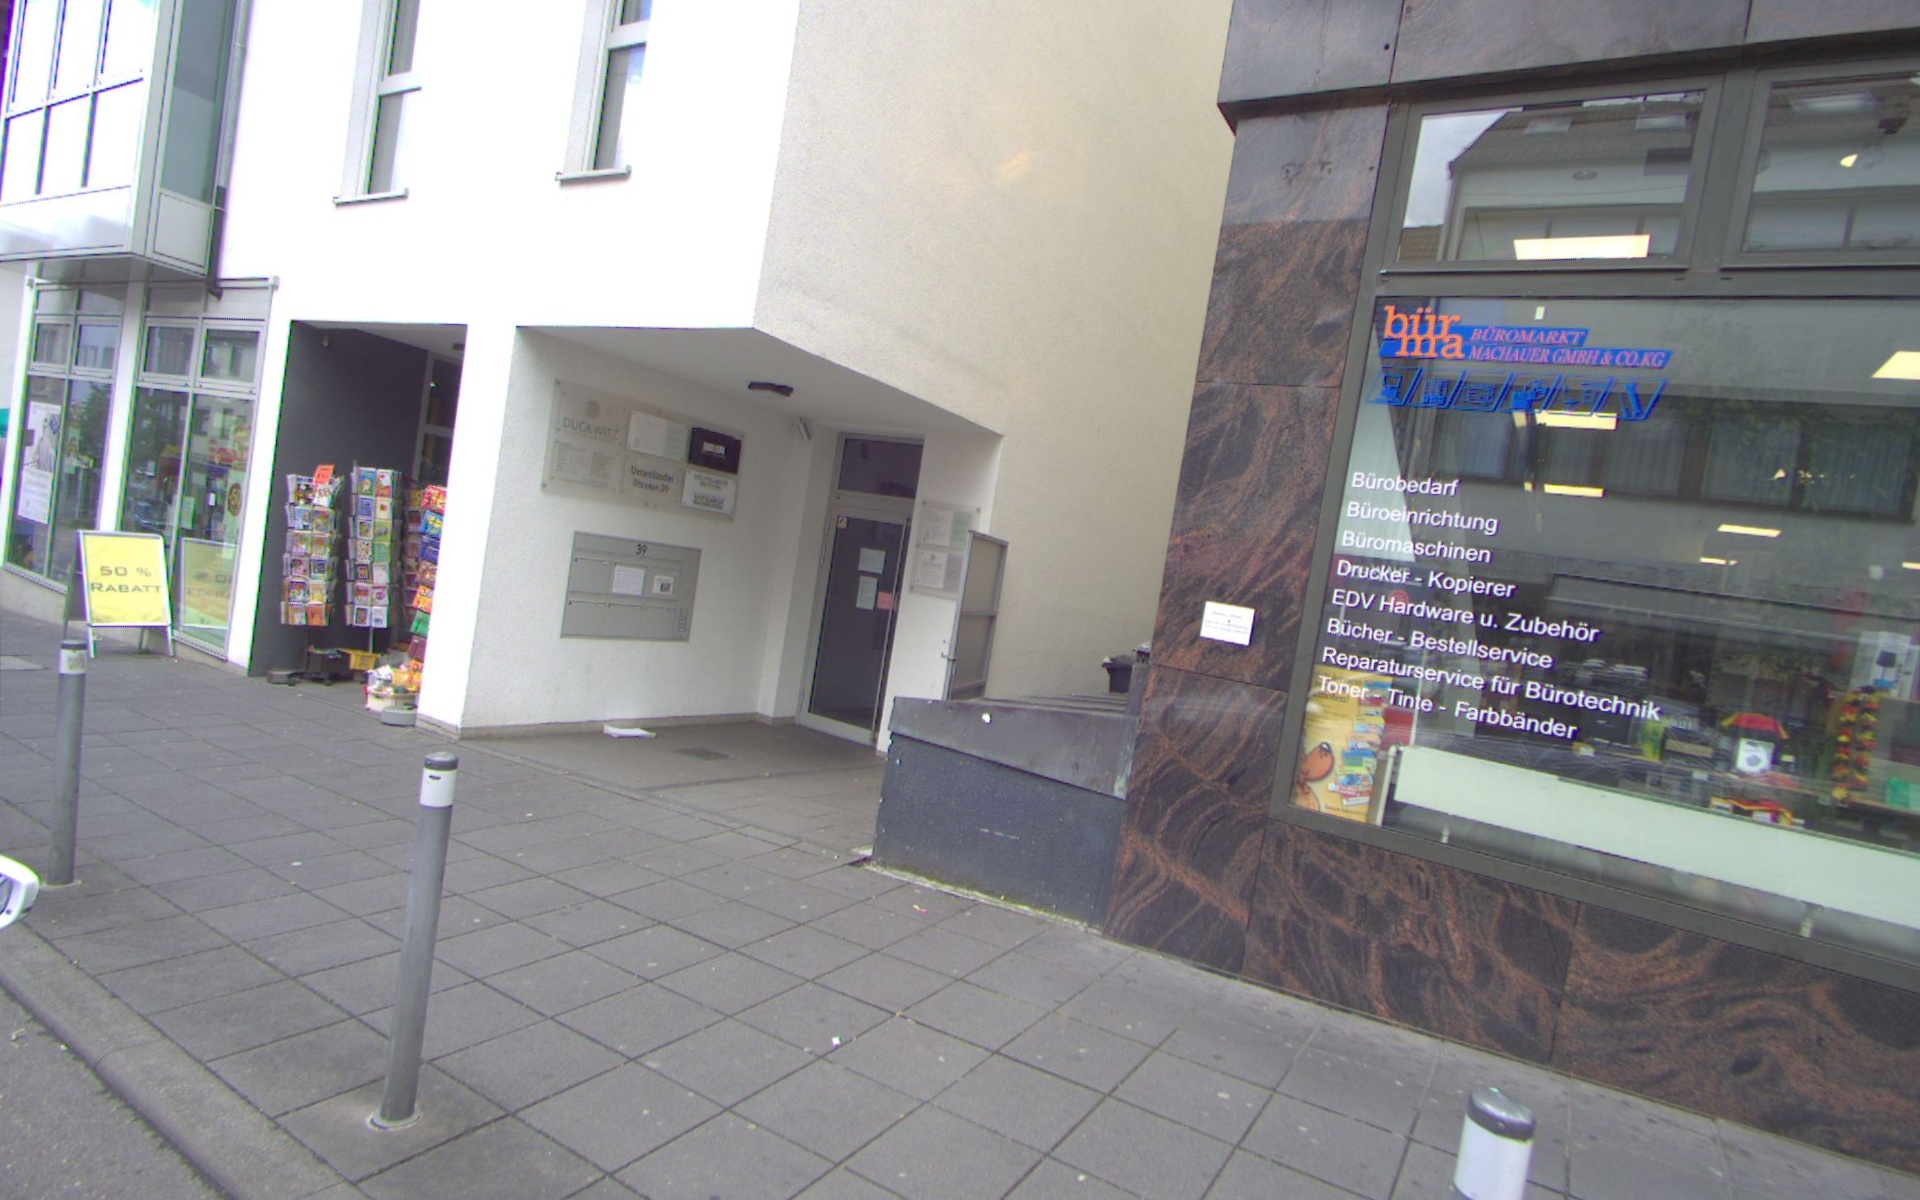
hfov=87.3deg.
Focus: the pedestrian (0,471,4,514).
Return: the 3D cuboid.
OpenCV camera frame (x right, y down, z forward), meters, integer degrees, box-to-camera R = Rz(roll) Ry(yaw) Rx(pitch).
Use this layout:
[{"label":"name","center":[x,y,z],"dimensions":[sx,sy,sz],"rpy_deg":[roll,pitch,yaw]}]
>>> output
[{"label":"pedestrian","center":[-15.303,-1.185,15.491],"dimensions":[0.556,1.710,0.574],"rpy_deg":[7,1,26]}]
